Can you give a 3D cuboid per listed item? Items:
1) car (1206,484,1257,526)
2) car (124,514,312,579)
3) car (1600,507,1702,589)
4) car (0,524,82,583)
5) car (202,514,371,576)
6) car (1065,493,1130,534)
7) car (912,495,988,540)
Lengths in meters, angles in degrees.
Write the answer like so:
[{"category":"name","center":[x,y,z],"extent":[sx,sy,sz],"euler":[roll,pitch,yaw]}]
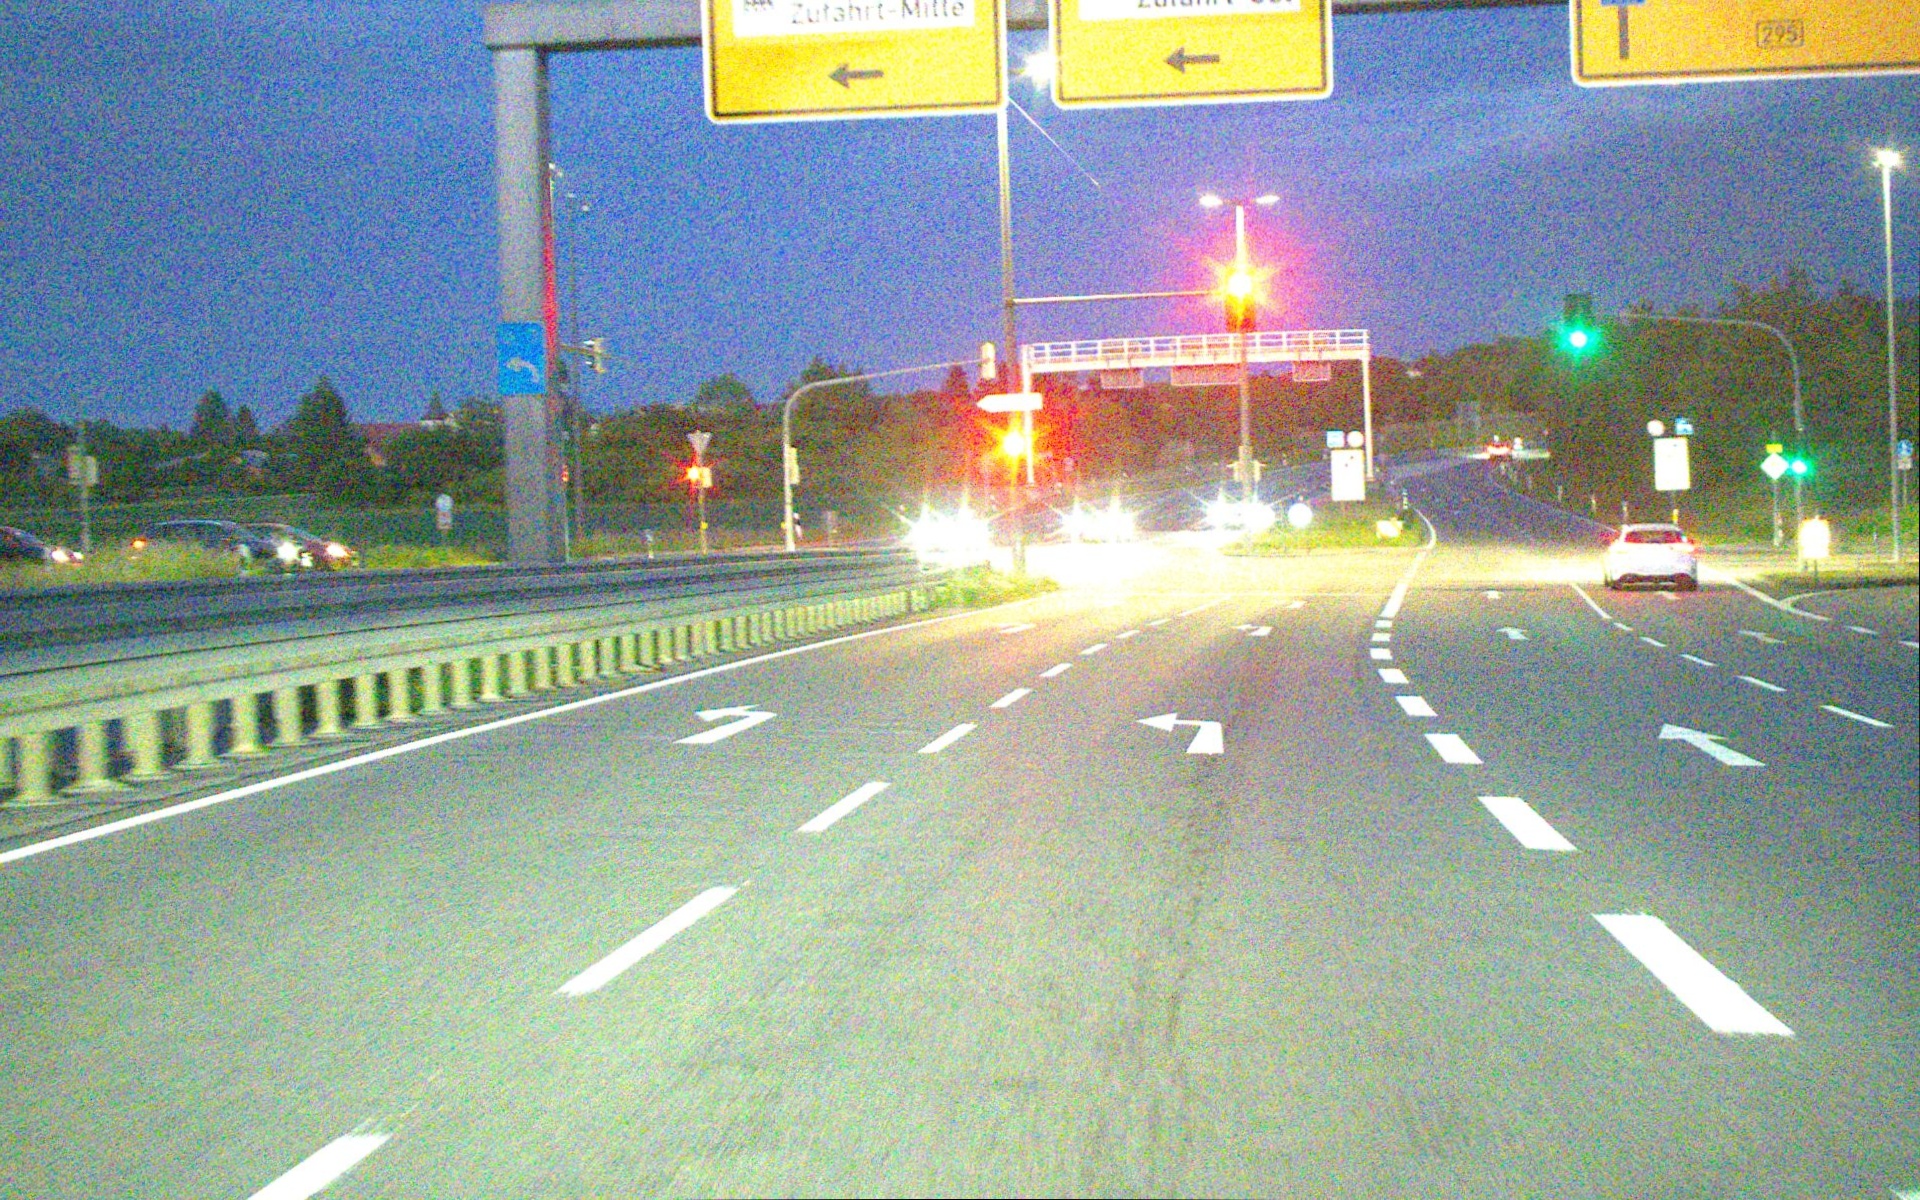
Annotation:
[{"category":"car","center":[11.701,-4.101,148.070],"extent":[1.994,1.692,3.999],"euler":[0,2,8]},{"category":"car","center":[-18.881,-1.371,87.528],"extent":[4.314,1.532,1.729],"euler":[-1,2,7]},{"category":"car","center":[14.674,-1.124,73.095],"extent":[2.008,1.605,3.844],"euler":[-2,1,11]},{"category":"car","center":[-25.051,-1.182,89.253],"extent":[3.987,1.468,1.729],"euler":[-1,2,3]},{"category":"car","center":[-17.863,-1.478,91.322],"extent":[4.041,1.532,1.729],"euler":[-1,2,6]},{"category":"car","center":[5.193,-3.264,129.098],"extent":[1.994,1.476,4.681],"euler":[-1,2,8]},{"category":"car","center":[-0.325,-2.822,116.935],"extent":[1.994,1.420,4.531],"euler":[-1,2,8]}]
